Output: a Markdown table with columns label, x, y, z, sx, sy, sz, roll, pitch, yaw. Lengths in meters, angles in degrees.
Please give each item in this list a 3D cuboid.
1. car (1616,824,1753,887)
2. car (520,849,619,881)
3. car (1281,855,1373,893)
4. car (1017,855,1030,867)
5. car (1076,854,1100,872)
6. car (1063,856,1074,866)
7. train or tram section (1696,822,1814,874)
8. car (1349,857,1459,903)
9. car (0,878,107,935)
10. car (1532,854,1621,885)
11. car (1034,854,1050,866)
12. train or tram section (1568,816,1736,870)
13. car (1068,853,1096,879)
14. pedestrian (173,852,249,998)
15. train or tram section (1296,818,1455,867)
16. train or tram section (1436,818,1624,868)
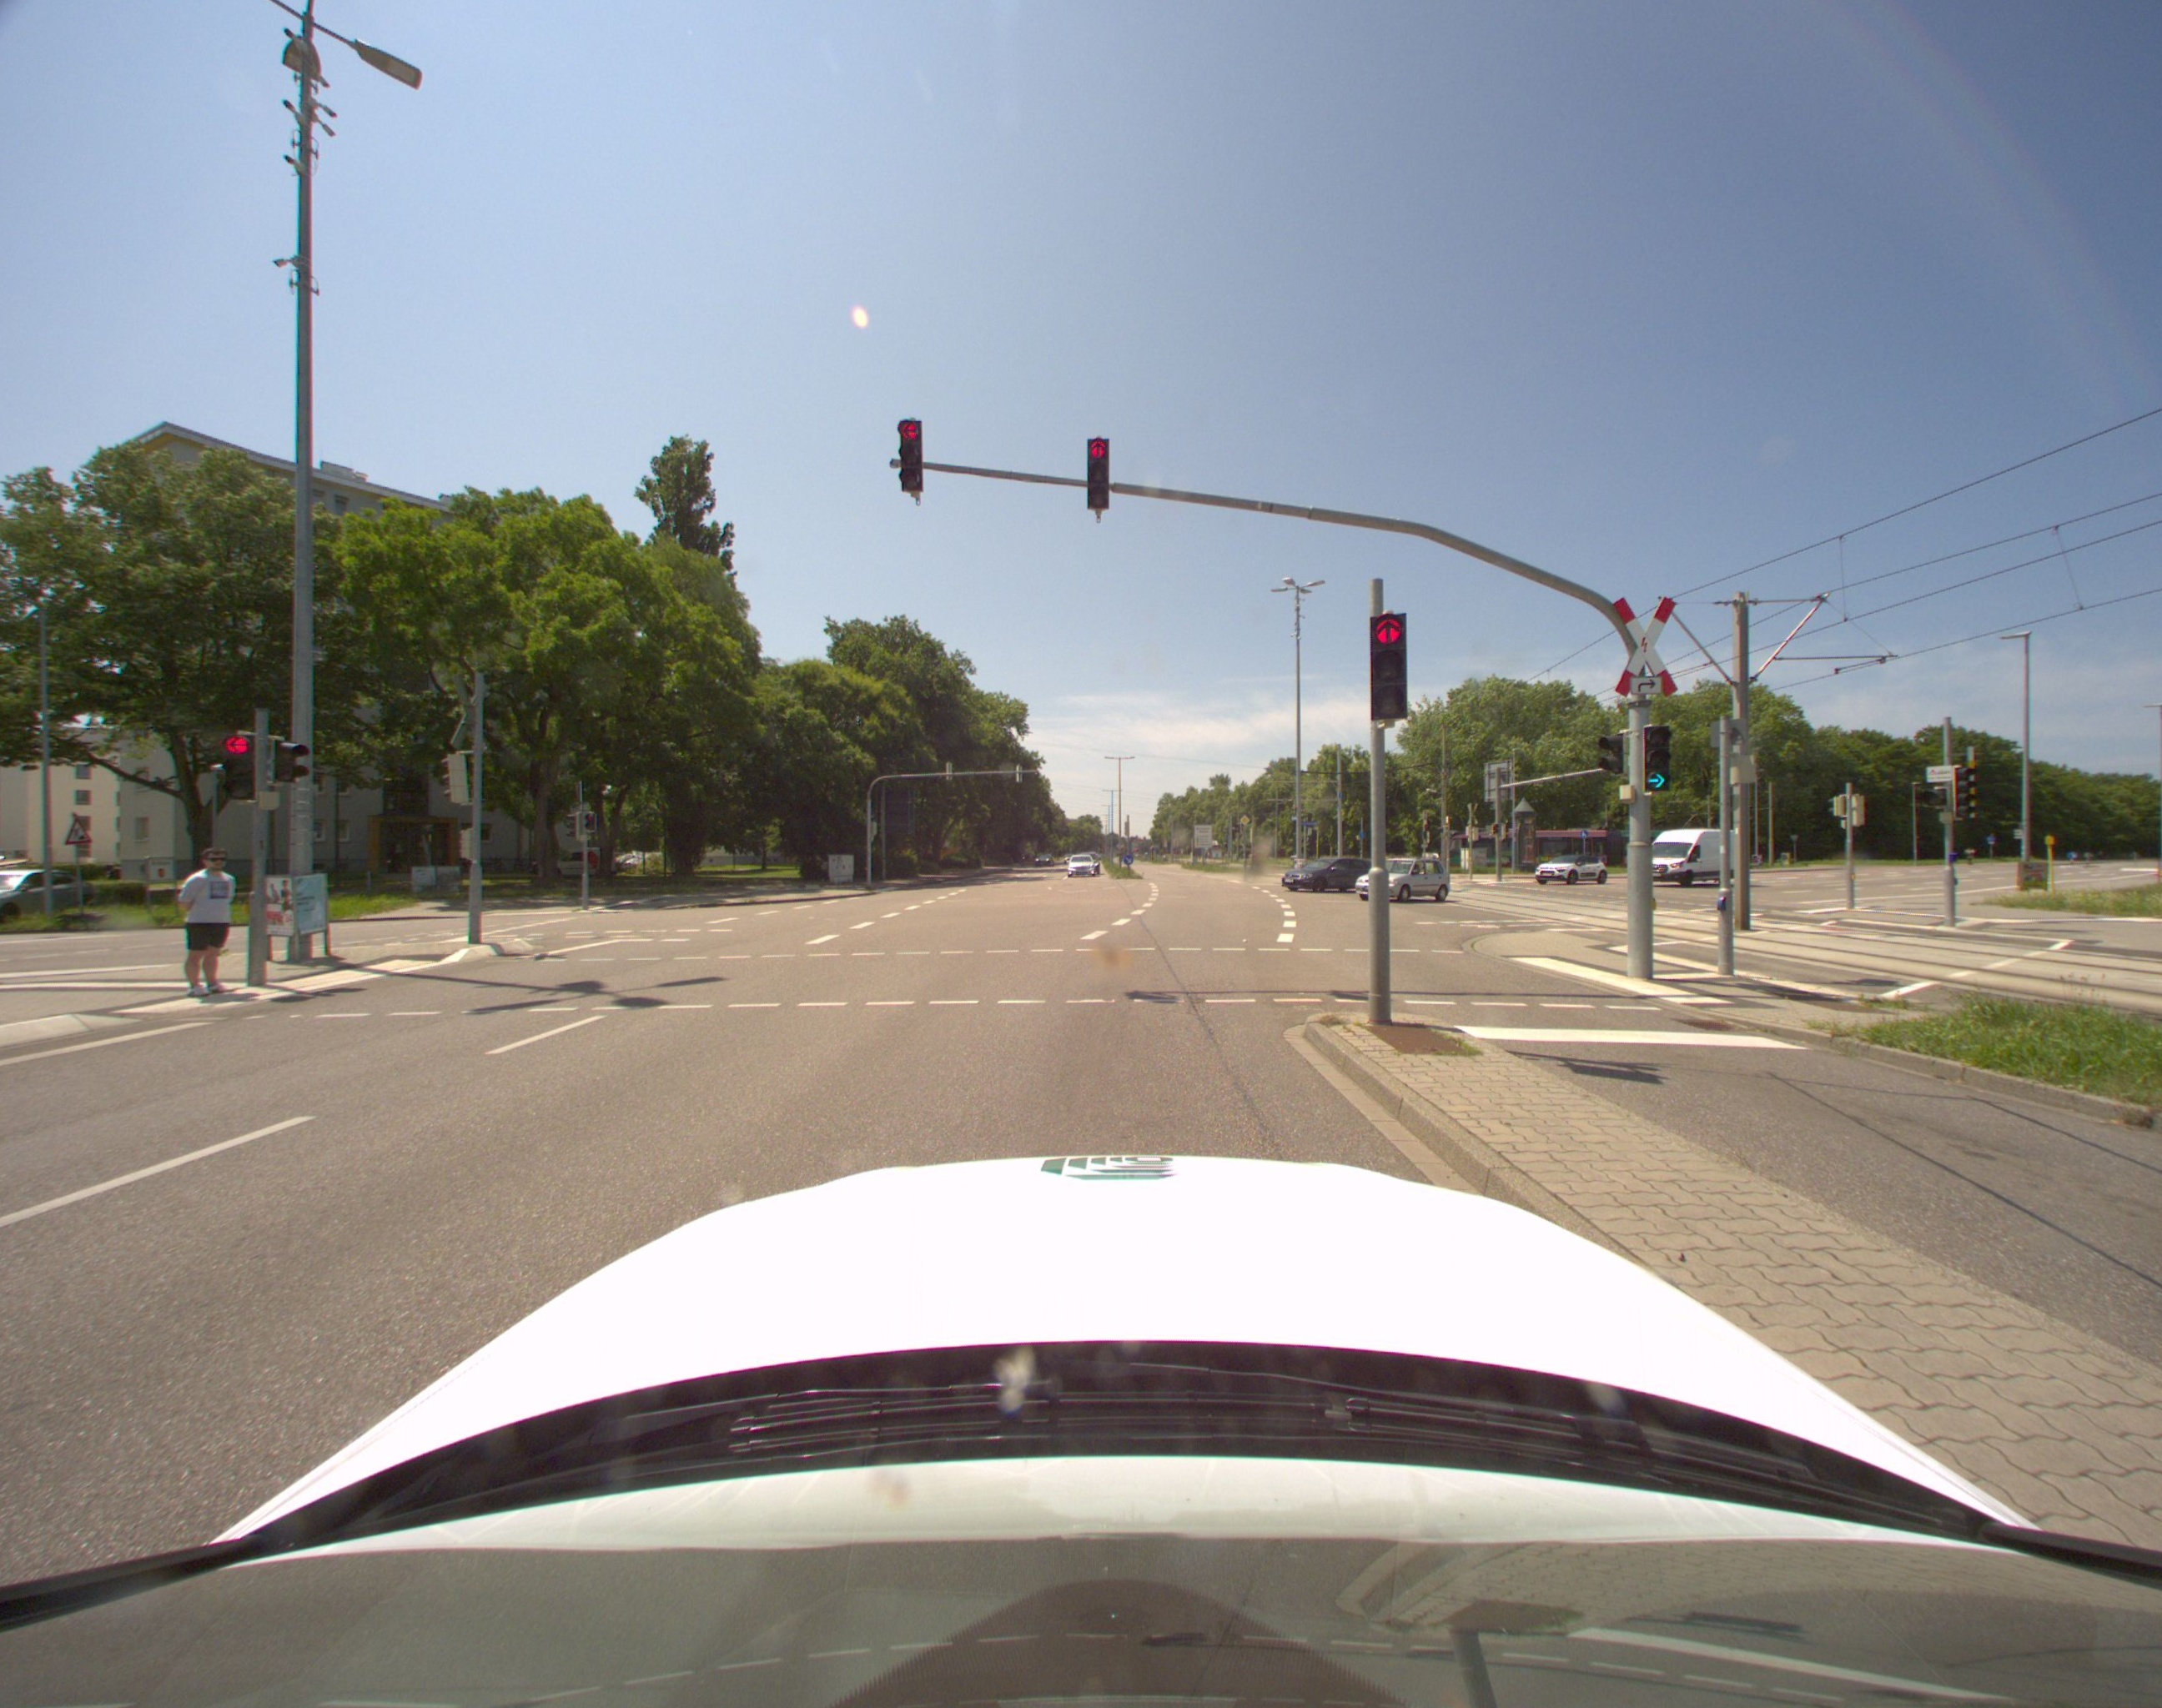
| label | x | y | z | sx | sy | sz | roll | pitch | yaw |
| --- | --- | --- | --- | --- | --- | --- | --- | --- | --- |
| car | 29.177 | 0.047 | 39.296 | 7.306 | 2.802 | 2.691 | 0 | 0 | -31 |
| car | -29.667 | 0.595 | 47.361 | 1.769 | 1.768 | 4.577 | 0 | 0 | 41 |
| car | 9.992 | 0.766 | 32.988 | 3.519 | 1.463 | 1.624 | 0 | 0 | -30 |
| car | -10.278 | 1.218 | 145.212 | 1.988 | 2.014 | 3.997 | 3 | -1 | -2 |
| car | 0.545 | 0.665 | 61.669 | 1.704 | 1.365 | 3.867 | 0 | 0 | 2 |
| car | -2.048 | 1.174 | 136.511 | 1.665 | 1.490 | 3.712 | 0 | 0 | 2 |
| train or tram section | 59.733 | -0.370 | 71.977 | 13.997 | 3.920 | 2.897 | 2 | -3 | -28 |
| car | 11.034 | 0.836 | 27.754 | 3.821 | 1.463 | 1.623 | 0 | 0 | -34 |
| car | -29.197 | 1.397 | 22.163 | 1.629 | 1.380 | 3.973 | 1 | 0 | -20 |
| car | 24.658 | 0.747 | 40.509 | 4.502 | 1.463 | 1.626 | 0 | 0 | -27 |
| car | -4.863 | 0.696 | 101.062 | 1.665 | 1.490 | 3.712 | 0 | 0 | 2 |
| train or tram section | 47.146 | -0.786 | 67.234 | 14.016 | 3.920 | 2.909 | 2 | -3 | -14 |
| car | 0.094 | 0.769 | 54.365 | 1.778 | 1.629 | 3.867 | 0 | 0 | 2 |
| pedestrian | -10.297 | 0.818 | 9.647 | 0.381 | 1.687 | 0.485 | 0 | 0 | -2 |
| train or tram section | 25.774 | -0.843 | 71.952 | 12.905 | 3.812 | 2.941 | -1 | -4 | 38 |
| train or tram section | 36.578 | -0.894 | 66.952 | 13.329 | 3.812 | 2.931 | 0 | -3 | 10 |
